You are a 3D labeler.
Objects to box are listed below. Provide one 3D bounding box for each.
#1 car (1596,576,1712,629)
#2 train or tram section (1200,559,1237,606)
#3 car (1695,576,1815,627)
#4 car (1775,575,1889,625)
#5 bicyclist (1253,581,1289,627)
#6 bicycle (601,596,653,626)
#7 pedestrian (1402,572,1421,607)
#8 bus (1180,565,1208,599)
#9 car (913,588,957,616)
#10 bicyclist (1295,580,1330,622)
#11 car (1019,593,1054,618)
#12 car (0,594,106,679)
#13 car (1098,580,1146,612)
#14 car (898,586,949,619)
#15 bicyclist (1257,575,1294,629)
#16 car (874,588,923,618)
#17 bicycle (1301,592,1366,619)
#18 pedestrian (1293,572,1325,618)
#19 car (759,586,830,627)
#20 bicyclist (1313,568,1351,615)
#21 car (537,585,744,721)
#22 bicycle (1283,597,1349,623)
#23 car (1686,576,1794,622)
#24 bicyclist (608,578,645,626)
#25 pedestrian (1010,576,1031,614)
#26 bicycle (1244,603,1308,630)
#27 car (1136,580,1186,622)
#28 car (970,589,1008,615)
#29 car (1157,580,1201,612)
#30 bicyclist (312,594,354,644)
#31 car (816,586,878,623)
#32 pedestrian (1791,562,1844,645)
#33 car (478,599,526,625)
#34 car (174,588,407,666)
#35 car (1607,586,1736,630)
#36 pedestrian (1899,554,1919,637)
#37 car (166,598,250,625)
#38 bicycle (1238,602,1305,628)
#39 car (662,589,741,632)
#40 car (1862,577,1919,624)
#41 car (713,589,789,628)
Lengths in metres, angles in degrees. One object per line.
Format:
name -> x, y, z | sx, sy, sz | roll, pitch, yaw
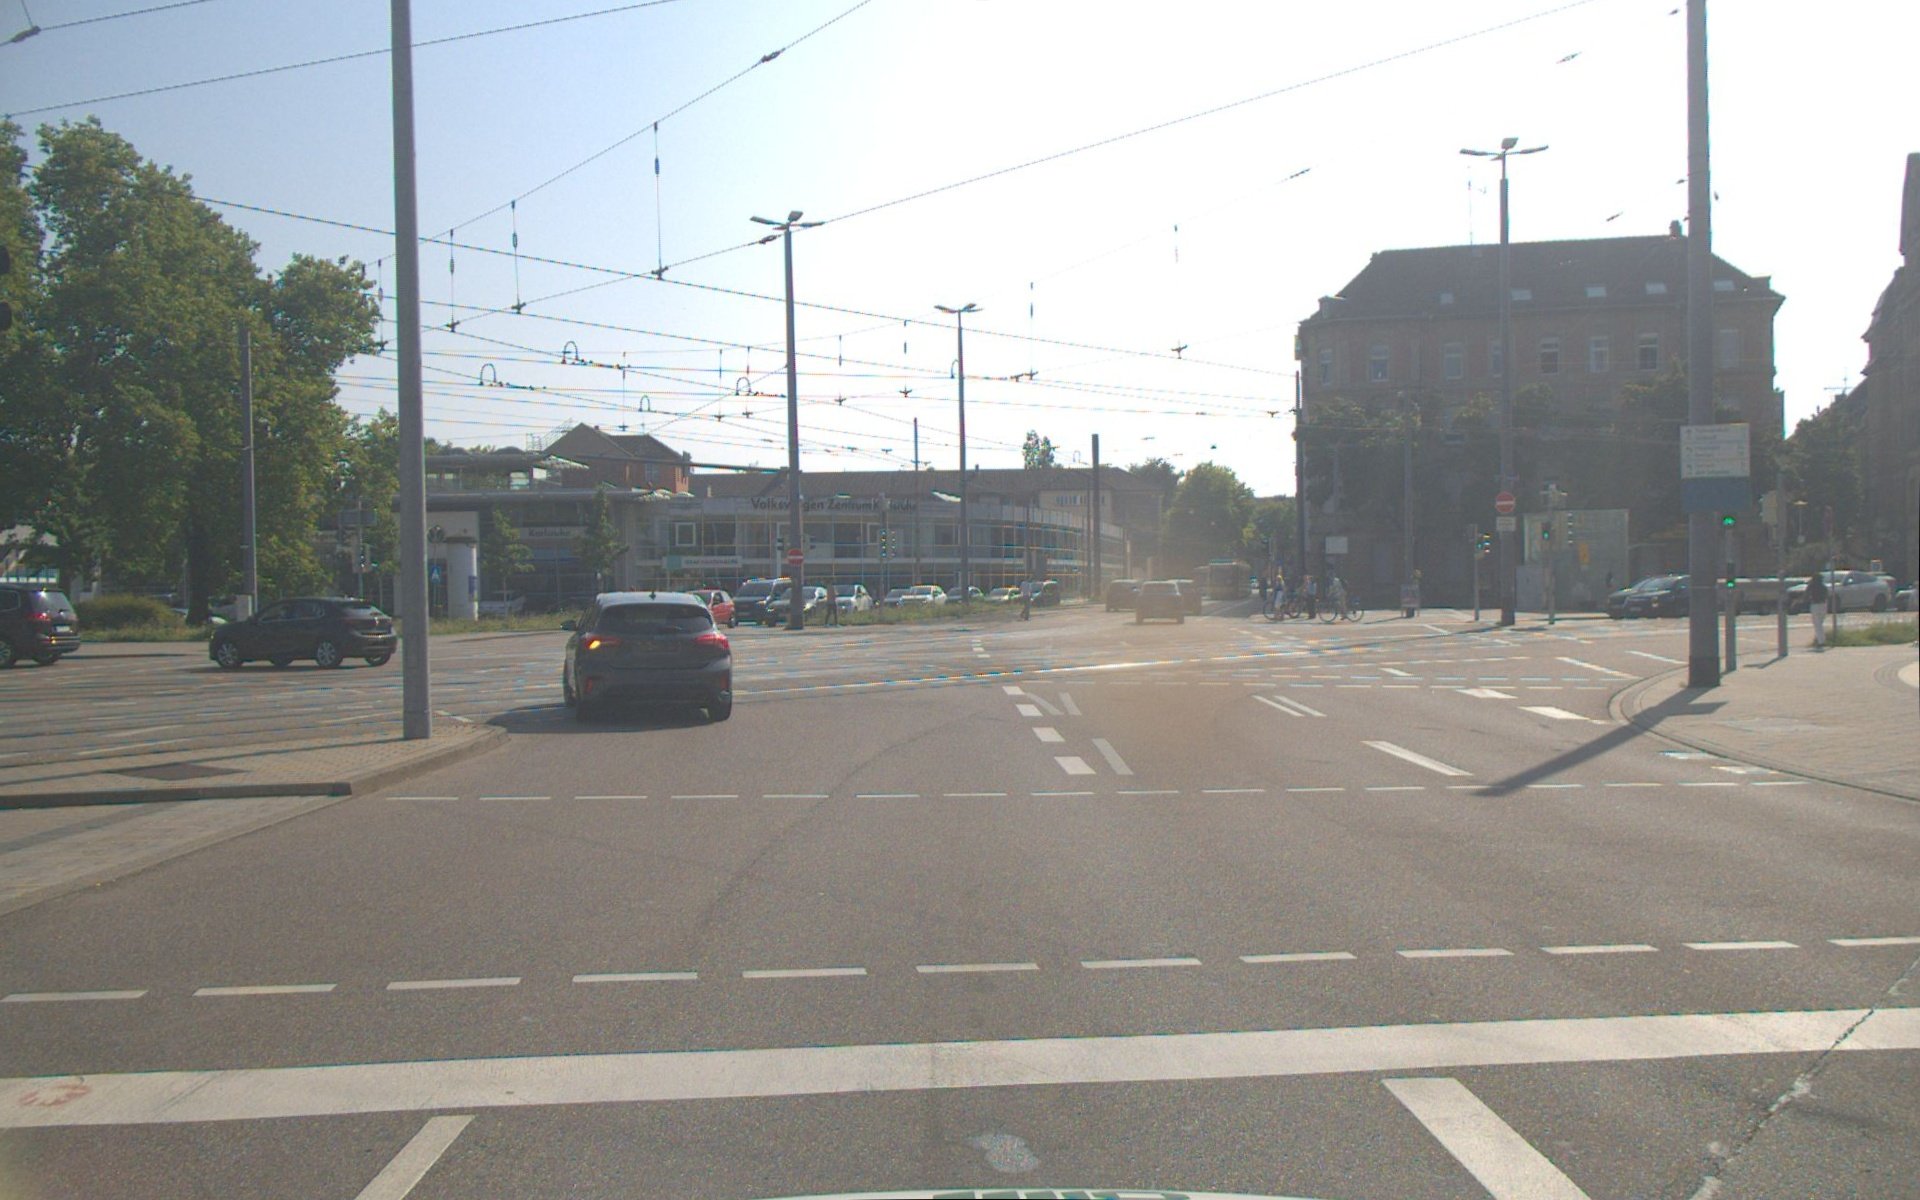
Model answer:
car -> 25.704, 0.084, 61.201 | 4.195, 1.891, 1.889 | -1, 0, -32
train or tram section -> 21.953, -1.504, 139.999 | 2.598, 3.763, 10.599 | -1, 1, 11
car -> 30.592, 0.050, 63.600 | 4.644, 1.891, 1.891 | -1, 0, -30
car -> 34.865, -0.020, 66.108 | 4.604, 1.891, 2.023 | -1, 0, -32
bicyclist -> 12.549, 0.172, 66.715 | 0.923, 1.831, 1.083 | -1, 0, -27
bicycle -> -12.428, 0.408, 61.790 | 0.937, 1.075, 2.610 | -1, 0, 12
pedestrian -> 19.967, -0.469, 73.142 | 0.537, 1.496, 0.664 | -1, 0, 42
bus -> 26.099, -1.975, 184.755 | 2.858, 3.682, 16.760 | -1, 0, 7
car -> -1.406, 0.077, 95.277 | 1.580, 1.501, 4.004 | -3, 0, 12
bicyclist -> 14.560, 0.032, 68.346 | 0.923, 1.709, 1.083 | -1, 0, -27
car -> 5.050, 0.364, 108.801 | 1.580, 1.501, 4.004 | -3, 0, 12
car -> -21.160, 0.812, 36.066 | 4.304, 1.744, 1.833 | -1, 1, 13
car -> 8.362, -0.241, 85.119 | 1.786, 1.562, 4.416 | -1, 1, 14
car -> -1.802, 0.103, 82.513 | 1.580, 1.501, 4.004 | -3, 0, 12
bicyclist -> 12.279, 0.066, 64.403 | 0.928, 2.059, 1.077 | -1, 0, -41
car -> -3.266, 0.139, 88.269 | 1.580, 1.501, 4.004 | -3, 0, 12
bicycle -> 14.171, 0.195, 62.684 | 2.603, 0.981, 1.077 | -1, 1, -41
pedestrian -> 13.877, -0.195, 65.760 | 0.921, 1.828, 0.846 | -1, 0, -45
car -> -6.406, 0.234, 64.221 | 1.580, 1.501, 4.004 | -3, 0, 11
bicyclist -> 14.080, -0.333, 62.611 | 0.928, 1.738, 1.077 | -1, 0, -41
car -> -4.030, 0.580, 20.285 | 1.805, 1.460, 4.523 | 1, 0, -20
bicycle -> 14.732, 0.402, 68.444 | 2.588, 0.981, 1.083 | -1, 0, -28
car -> 33.547, -0.061, 71.133 | 4.201, 1.891, 1.918 | -1, 0, -23
bicyclist -> -12.447, 0.078, 61.711 | 0.937, 1.779, 1.167 | -1, 0, 12
pedestrian -> 2.417, -0.205, 66.039 | 0.761, 1.529, 0.711 | -1, 0, 6
bicycle -> 12.322, 0.619, 64.431 | 2.603, 0.981, 1.077 | -1, 1, -41
car -> 7.554, 0.010, 62.218 | 1.786, 1.453, 4.416 | -1, 1, 7
car -> 1.825, 0.111, 102.456 | 1.580, 1.501, 4.004 | -3, 0, 12
car -> 10.395, -0.219, 78.359 | 1.786, 1.453, 4.416 | -1, 1, 11
bicyclist -> -19.616, 0.587, 51.743 | 1.144, 1.554, 0.956 | -1, 0, -18
car -> -4.809, 0.172, 70.900 | 1.580, 1.501, 4.004 | -3, 0, 11
pedestrian -> 18.139, 0.074, 34.997 | 0.903, 1.719, 0.835 | -1, 0, 33
car -> -27.661, 0.712, 99.977 | 1.664, 1.549, 4.100 | -1, 0, 1
car -> -13.826, 0.556, 34.218 | 4.265, 1.518, 1.689 | -1, 0, 14
car -> 24.504, 0.251, 56.939 | 4.330, 1.421, 2.002 | -1, 0, -32
pedestrian -> 20.150, -0.098, 34.467 | 0.904, 1.719, 0.921 | -1, 0, 36
car -> -45.160, 0.665, 99.417 | 1.667, 1.549, 4.509 | -1, 0, 27
bicycle -> 12.567, 0.601, 66.727 | 2.588, 0.981, 1.083 | -1, 0, -28
car -> -9.677, 0.378, 62.082 | 1.580, 1.501, 4.004 | -3, 0, 11
car -> 39.909, 0.004, 69.354 | 4.195, 1.891, 1.889 | -1, 0, -32
car -> -8.708, 0.333, 69.150 | 1.918, 1.501, 4.004 | -3, 0, 11
